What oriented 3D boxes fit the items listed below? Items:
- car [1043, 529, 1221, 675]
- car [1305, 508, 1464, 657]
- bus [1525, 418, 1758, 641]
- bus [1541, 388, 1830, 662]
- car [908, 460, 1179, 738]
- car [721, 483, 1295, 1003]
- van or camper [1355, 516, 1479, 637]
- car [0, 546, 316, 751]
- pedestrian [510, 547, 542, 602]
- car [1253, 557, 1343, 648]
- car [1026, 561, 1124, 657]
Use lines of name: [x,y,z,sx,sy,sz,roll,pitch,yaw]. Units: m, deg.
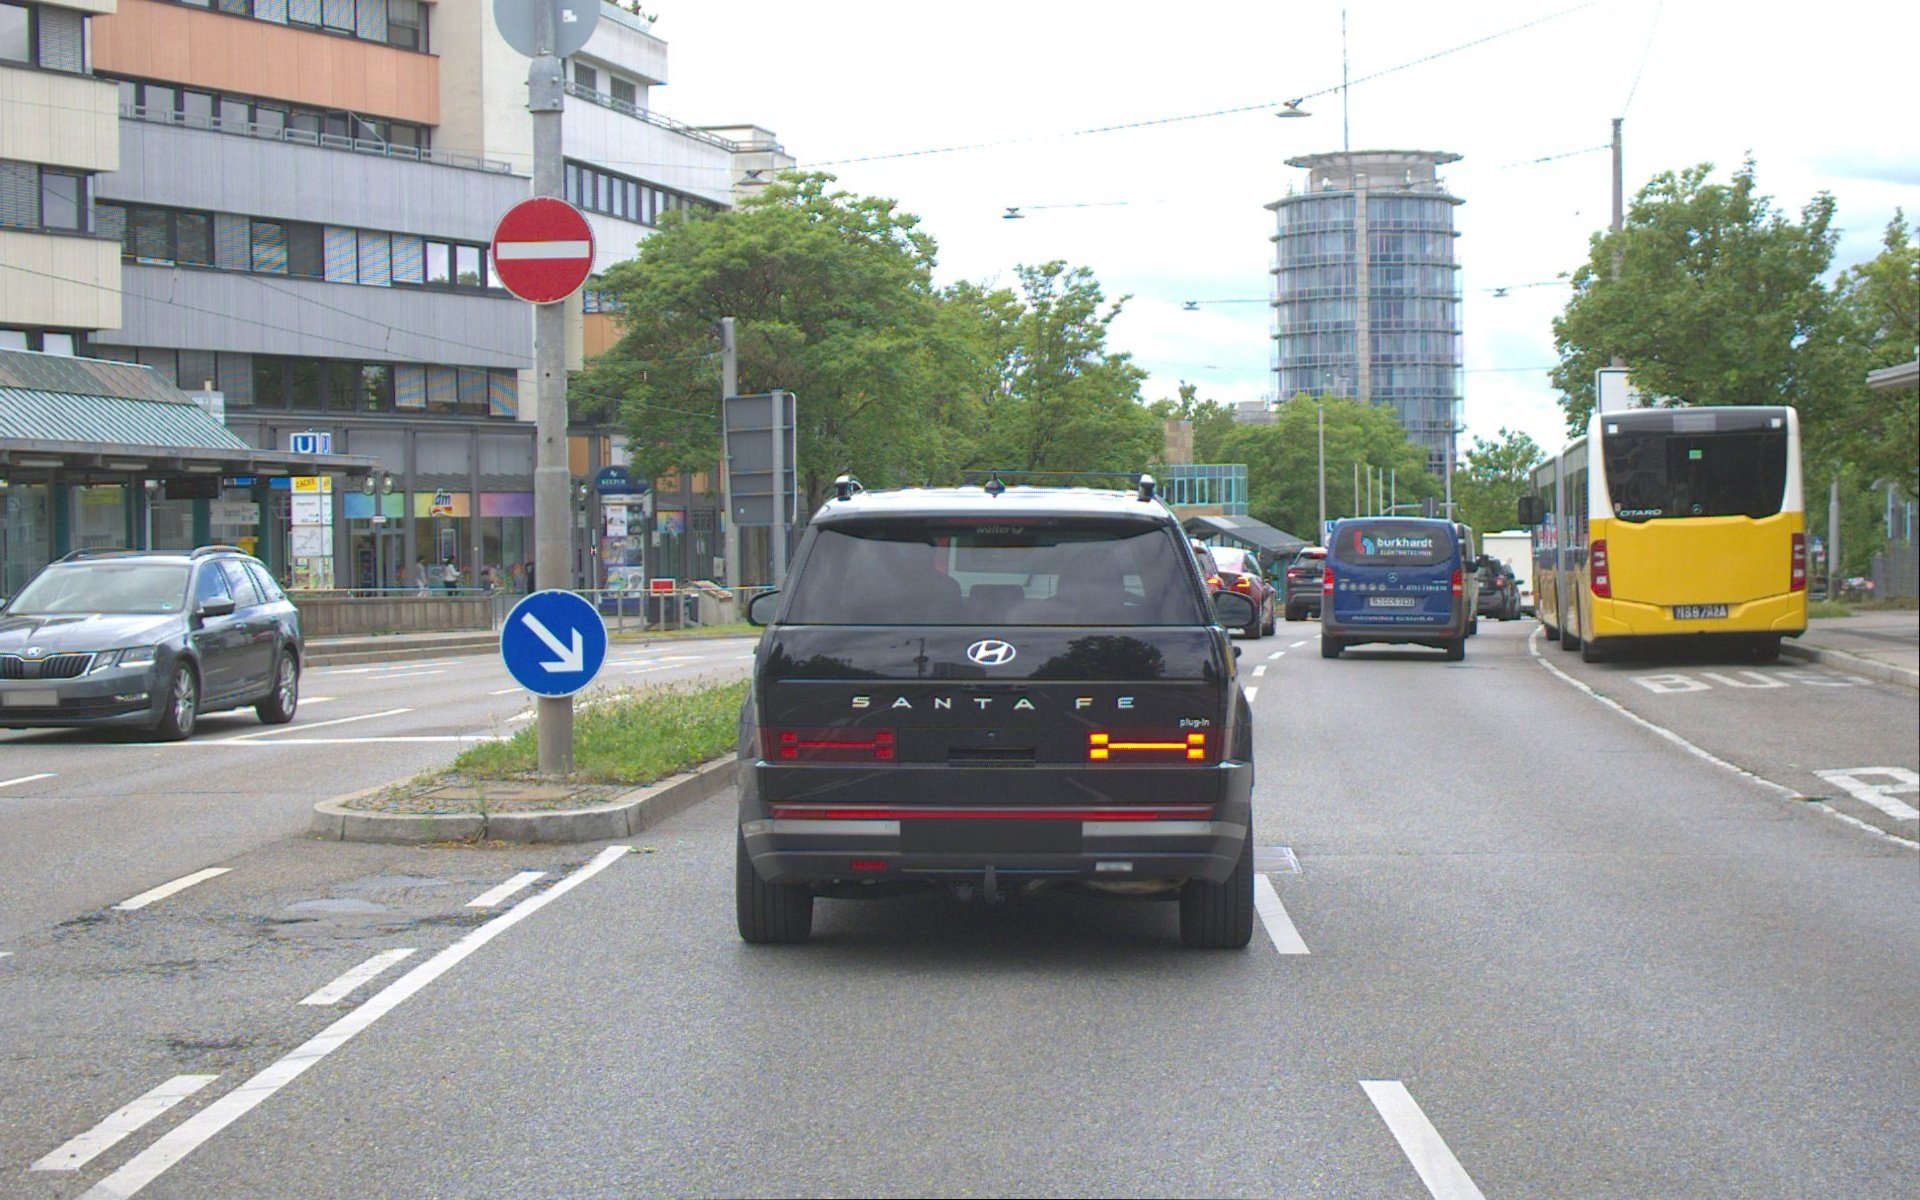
car: [1.974,-0.025,40.645,1.902,1.537,4.710,1,2,1]
car: [5.669,-0.286,46.400,1.902,1.852,4.709,1,2,5]
bus: [10.551,-1.085,54.133,2.953,3.101,9.973,-2,1,8]
bus: [9.237,-0.940,44.714,2.967,3.106,9.241,-2,1,8]
car: [0.668,-0.082,26.903,1.902,1.962,4.636,1,2,2]
car: [0.038,0.409,13.733,1.902,1.725,4.447,1,2,-3]
van or camper: [7.792,-0.443,58.926,1.994,1.911,4.408,0,3,6]
car: [-6.582,0.316,26.973,1.798,1.450,4.612,-1,1,5]
pedestrian: [-13.217,-0.770,104.679,0.732,1.667,0.581,0,1,27]
car: [7.615,0.027,77.176,1.902,1.852,4.708,1,2,7]
car: [2.555,0.161,75.600,1.902,1.922,4.709,1,2,5]
